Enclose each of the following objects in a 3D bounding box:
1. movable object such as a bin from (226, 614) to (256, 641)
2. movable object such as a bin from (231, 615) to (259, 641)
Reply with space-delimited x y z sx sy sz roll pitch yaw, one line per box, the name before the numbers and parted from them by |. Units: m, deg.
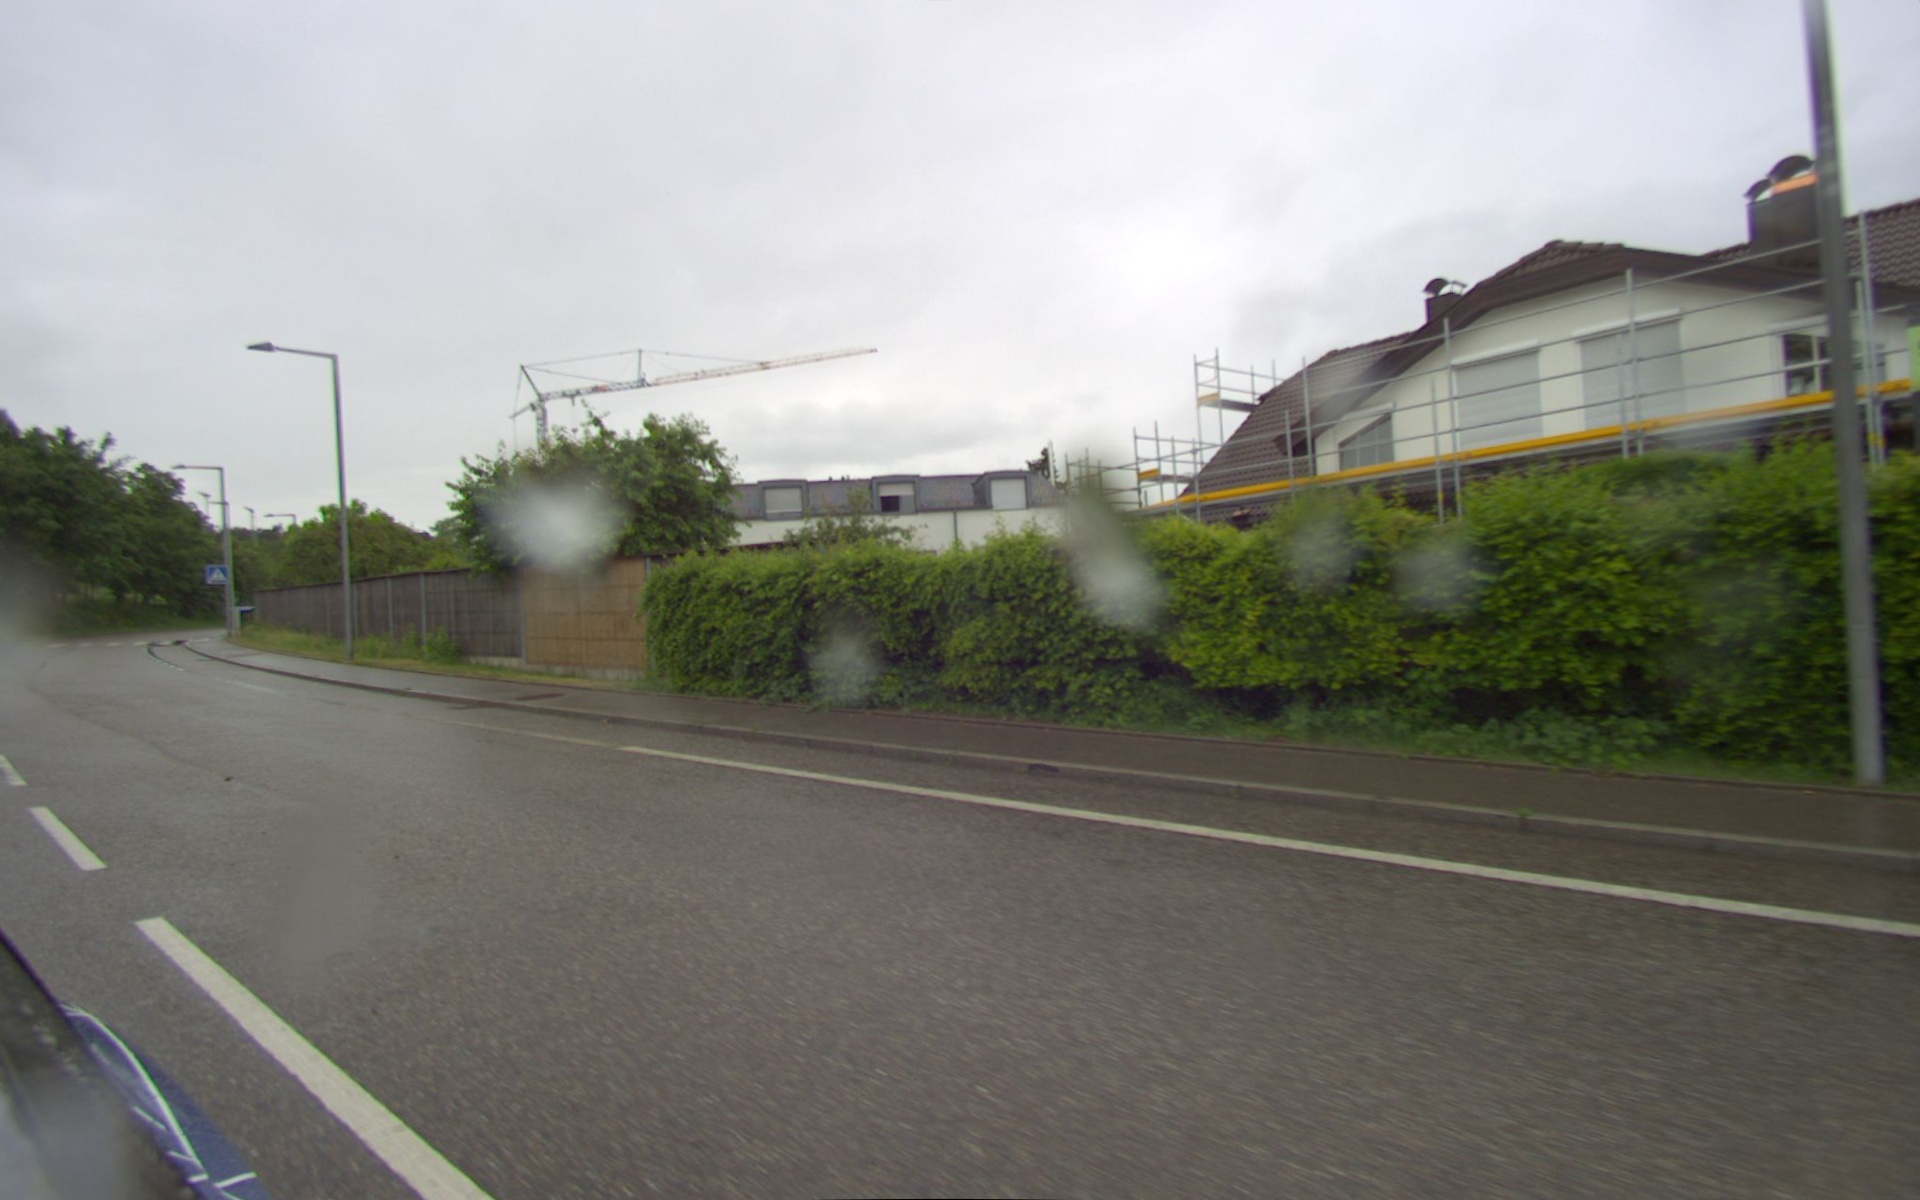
movable object such as a bin | -38.948 1.505 54.822 1.116 1.332 1.366 -6 1 -31
movable object such as a bin | -39.959 1.555 56.557 1.116 1.311 1.402 -5 1 -31
